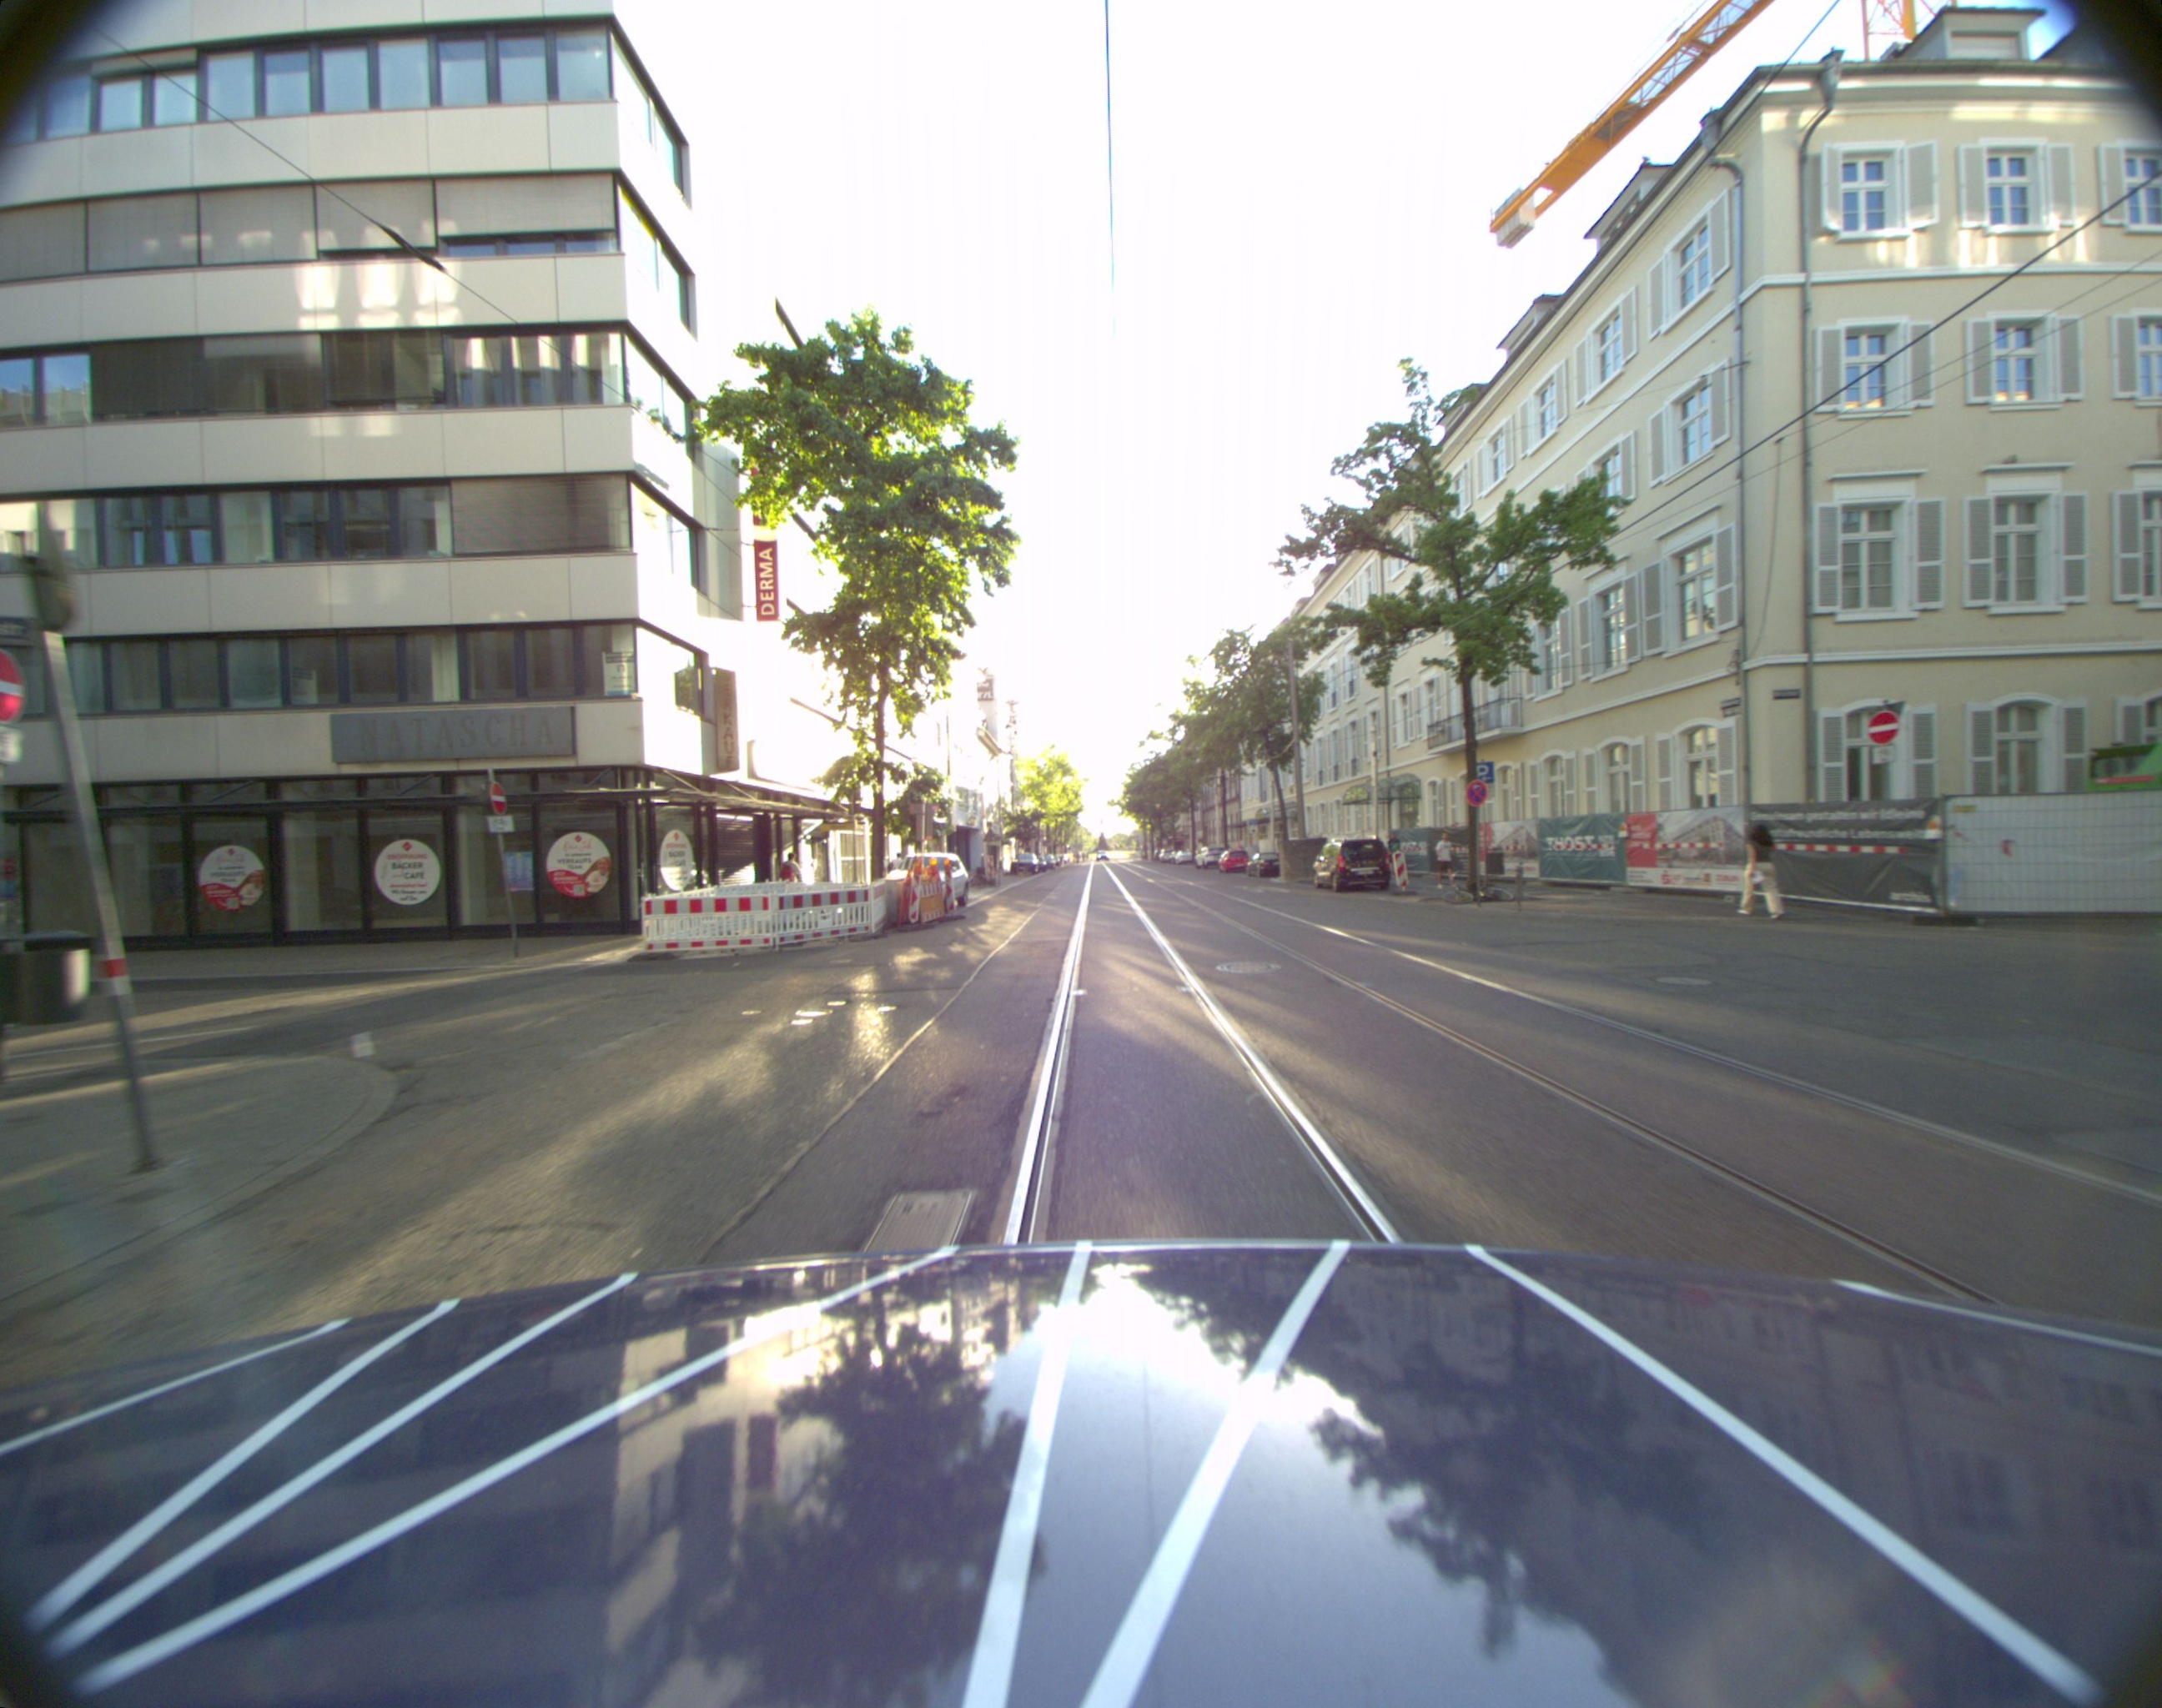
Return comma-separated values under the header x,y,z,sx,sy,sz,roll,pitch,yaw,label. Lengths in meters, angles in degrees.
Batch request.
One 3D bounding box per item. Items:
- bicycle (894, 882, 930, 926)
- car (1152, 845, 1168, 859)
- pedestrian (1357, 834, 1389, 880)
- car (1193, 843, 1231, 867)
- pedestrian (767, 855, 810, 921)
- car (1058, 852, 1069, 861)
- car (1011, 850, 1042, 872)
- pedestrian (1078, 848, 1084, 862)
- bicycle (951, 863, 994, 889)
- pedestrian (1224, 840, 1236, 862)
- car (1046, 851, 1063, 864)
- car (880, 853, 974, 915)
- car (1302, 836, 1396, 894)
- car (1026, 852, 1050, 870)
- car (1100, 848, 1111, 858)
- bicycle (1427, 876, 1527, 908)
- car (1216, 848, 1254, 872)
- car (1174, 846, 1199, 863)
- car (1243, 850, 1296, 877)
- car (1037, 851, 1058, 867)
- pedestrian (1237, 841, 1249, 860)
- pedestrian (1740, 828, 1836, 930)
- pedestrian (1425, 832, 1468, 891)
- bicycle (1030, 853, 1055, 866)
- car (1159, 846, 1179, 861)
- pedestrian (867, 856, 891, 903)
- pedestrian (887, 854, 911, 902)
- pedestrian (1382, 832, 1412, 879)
x,y,z,sx,sy,sz,roll,pitch,yaw,label
-4.353,1.268,19.676,0.494,0.976,1.930,-2,1,-1,bicycle
11.668,-0.278,111.943,1.931,1.946,4.765,-1,0,1,car
11.883,0.119,30.963,0.867,1.771,0.884,-5,1,1,pedestrian
10.155,0.079,59.238,1.870,1.679,4.950,-5,0,-2,car
-8.461,0.967,22.000,0.835,1.886,0.918,-1,1,4,pedestrian
-2.679,0.353,119.803,1.564,1.391,3.697,1,0,1,car
-4.326,0.535,60.828,1.985,1.679,4.873,1,0,1,car
0.021,0.134,104.685,0.705,1.858,0.792,-2,1,-1,pedestrian
-5.088,1.018,35.544,1.816,1.128,0.841,0,2,9,bicycle
12.395,-0.257,63.164,0.746,1.732,0.933,-4,1,2,pedestrian
-3.331,0.445,95.606,1.798,1.502,3.986,1,0,1,car
-4.783,0.857,24.321,2.028,1.727,4.906,1,0,0,car
9.464,0.335,27.247,1.862,1.821,4.559,-3,0,3,car
-3.914,0.637,68.676,1.871,1.502,4.241,1,0,-7,car
4.379,-0.212,134.614,1.827,1.603,3.796,-2,0,2,car
9.710,0.923,18.708,1.799,0.605,1.282,-3,0,4,bicycle
10.011,0.345,49.546,1.664,1.397,4.141,-5,0,2,car
10.740,0.046,77.644,1.897,1.458,4.617,-5,0,2,car
10.026,0.451,40.781,1.722,1.238,4.507,-5,0,1,car
-3.439,0.530,78.417,1.770,1.502,4.287,-2,0,2,car
13.429,-0.287,62.975,0.746,1.571,0.933,-4,1,1,pedestrian
11.940,0.410,12.867,0.709,1.646,0.967,-2,0,3,pedestrian
11.460,0.224,23.834,0.776,1.782,0.984,-4,1,3,pedestrian
-3.809,0.565,75.185,2.325,1.181,0.751,-2,1,3,bicycle
11.179,-0.117,97.075,1.952,1.731,4.765,-5,0,1,car
-7.913,1.001,29.835,0.690,1.820,0.634,-2,1,1,pedestrian
-7.176,0.942,29.994,0.707,1.820,0.634,-2,1,1,pedestrian
12.725,0.054,30.620,0.721,1.802,0.876,-5,1,1,pedestrian
